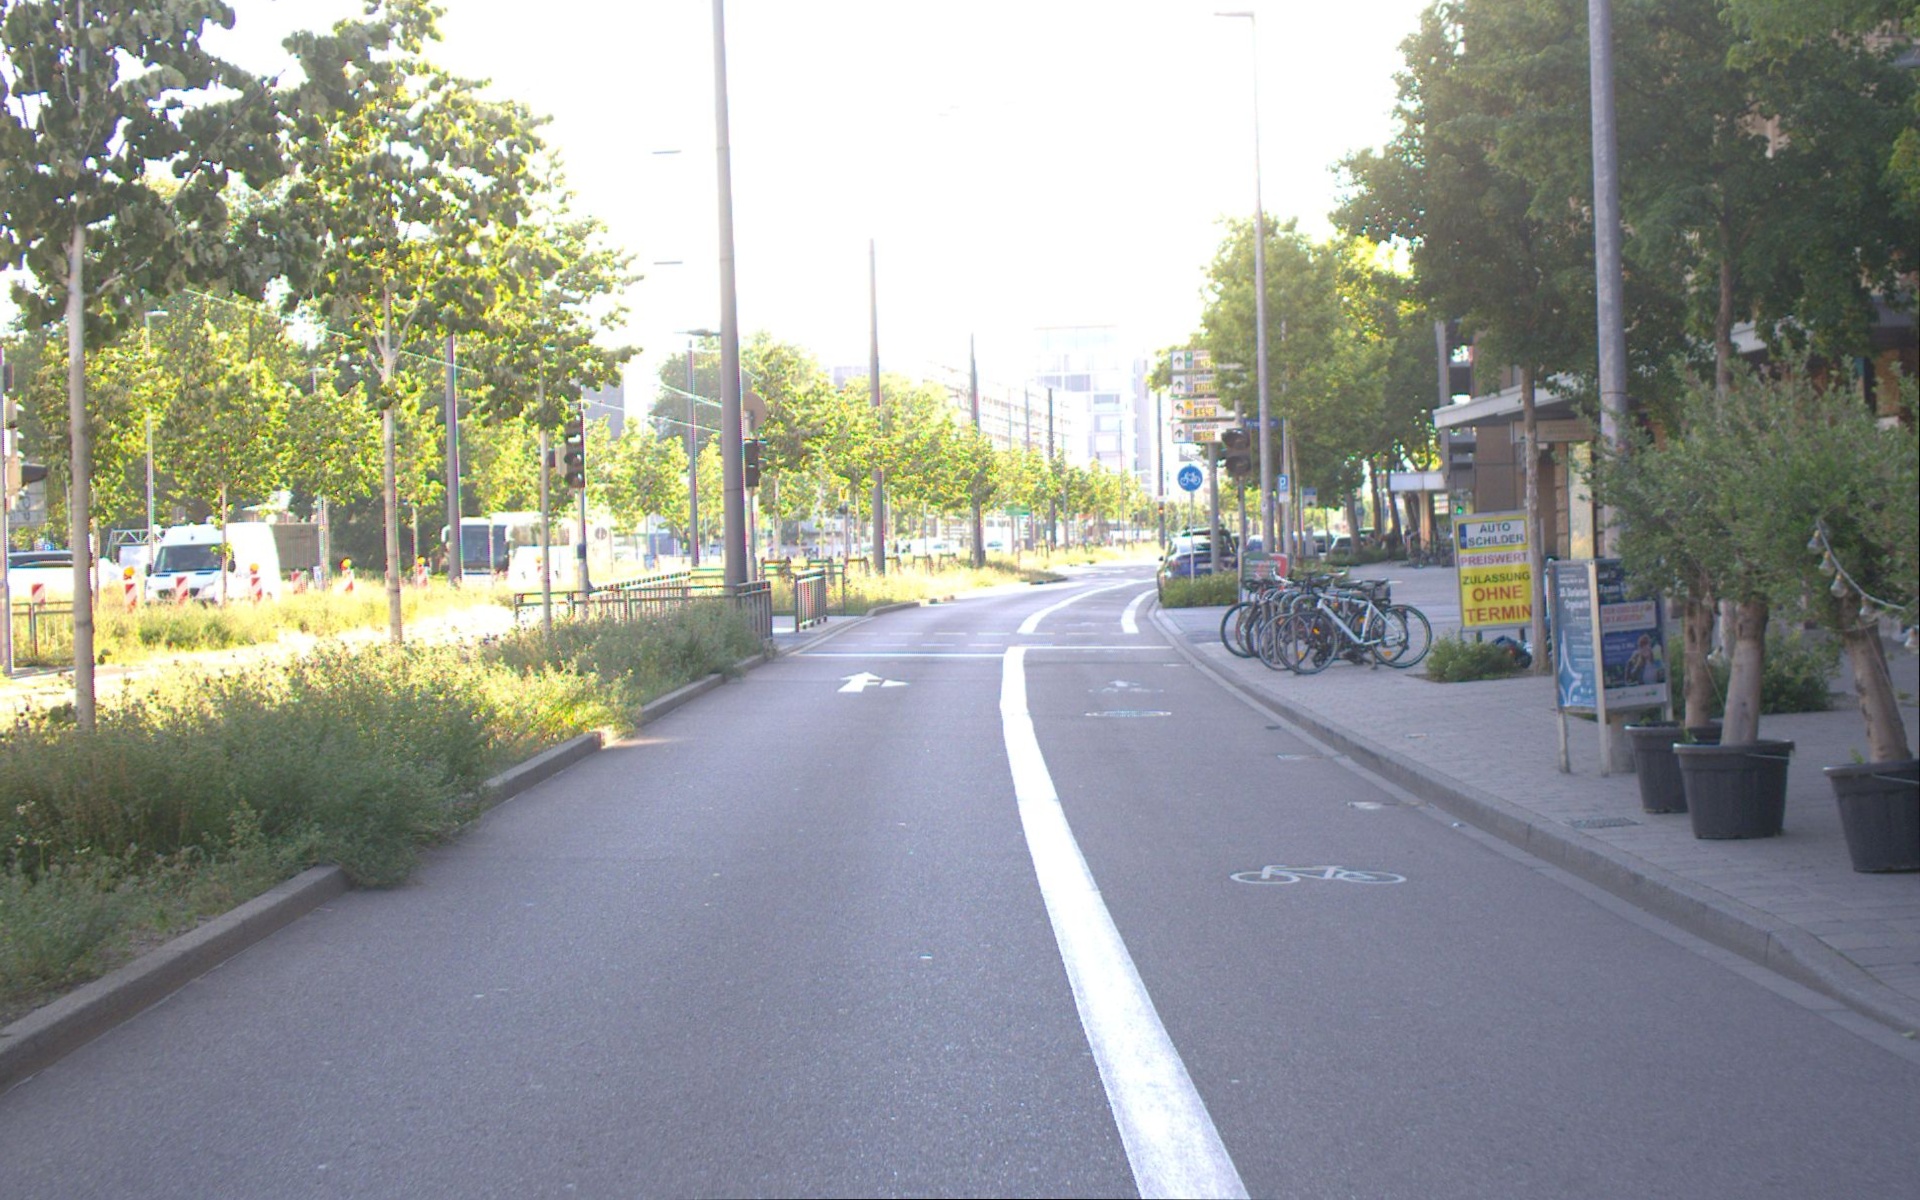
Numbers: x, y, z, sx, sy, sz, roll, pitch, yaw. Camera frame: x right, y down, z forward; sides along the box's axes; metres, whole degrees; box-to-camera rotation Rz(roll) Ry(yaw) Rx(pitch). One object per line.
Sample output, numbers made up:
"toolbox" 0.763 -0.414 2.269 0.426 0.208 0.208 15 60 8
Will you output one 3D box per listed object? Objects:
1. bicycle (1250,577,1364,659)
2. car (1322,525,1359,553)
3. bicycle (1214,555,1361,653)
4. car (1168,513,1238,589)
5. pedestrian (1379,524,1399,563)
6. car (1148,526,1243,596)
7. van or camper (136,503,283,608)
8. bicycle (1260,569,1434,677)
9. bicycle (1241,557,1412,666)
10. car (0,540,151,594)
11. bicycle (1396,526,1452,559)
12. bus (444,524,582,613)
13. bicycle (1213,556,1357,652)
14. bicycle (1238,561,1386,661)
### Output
"bicycle" 4.100 0.213 40.627 1.275 0.874 0.507 -4 1 5
"car" 20.502 -3.300 185.147 1.707 1.413 4.275 -4 1 9
"bicycle" 4.127 0.046 43.351 1.754 1.100 0.507 -4 1 5
"car" 6.537 -1.339 92.695 1.735 1.912 4.393 -3 1 4
"pedestrian" 18.433 -2.420 147.789 0.789 1.643 1.136 -2 1 7
"car" 5.814 -0.985 85.209 1.931 1.593 4.699 -3 1 0
"van or camper" -19.561 -1.207 89.909 2.221 2.501 7.201 -4 2 -1
"bicycle" 4.205 0.249 37.463 1.805 1.044 0.566 -4 1 5
"bicycle" 4.152 0.132 38.973 1.844 1.101 0.566 -4 1 5
"car" -30.581 -1.132 117.549 5.227 1.711 2.125 -1 1 5
"bicycle" 16.553 -2.051 122.747 1.899 1.089 0.392 -3 1 1
"bus" -18.890 -1.413 146.309 2.800 3.582 12.695 -1 1 7
"bicycle" 4.147 0.044 43.942 1.754 1.100 0.507 -4 1 5
"bicycle" 4.305 0.128 42.069 1.722 1.100 0.507 -4 1 5
